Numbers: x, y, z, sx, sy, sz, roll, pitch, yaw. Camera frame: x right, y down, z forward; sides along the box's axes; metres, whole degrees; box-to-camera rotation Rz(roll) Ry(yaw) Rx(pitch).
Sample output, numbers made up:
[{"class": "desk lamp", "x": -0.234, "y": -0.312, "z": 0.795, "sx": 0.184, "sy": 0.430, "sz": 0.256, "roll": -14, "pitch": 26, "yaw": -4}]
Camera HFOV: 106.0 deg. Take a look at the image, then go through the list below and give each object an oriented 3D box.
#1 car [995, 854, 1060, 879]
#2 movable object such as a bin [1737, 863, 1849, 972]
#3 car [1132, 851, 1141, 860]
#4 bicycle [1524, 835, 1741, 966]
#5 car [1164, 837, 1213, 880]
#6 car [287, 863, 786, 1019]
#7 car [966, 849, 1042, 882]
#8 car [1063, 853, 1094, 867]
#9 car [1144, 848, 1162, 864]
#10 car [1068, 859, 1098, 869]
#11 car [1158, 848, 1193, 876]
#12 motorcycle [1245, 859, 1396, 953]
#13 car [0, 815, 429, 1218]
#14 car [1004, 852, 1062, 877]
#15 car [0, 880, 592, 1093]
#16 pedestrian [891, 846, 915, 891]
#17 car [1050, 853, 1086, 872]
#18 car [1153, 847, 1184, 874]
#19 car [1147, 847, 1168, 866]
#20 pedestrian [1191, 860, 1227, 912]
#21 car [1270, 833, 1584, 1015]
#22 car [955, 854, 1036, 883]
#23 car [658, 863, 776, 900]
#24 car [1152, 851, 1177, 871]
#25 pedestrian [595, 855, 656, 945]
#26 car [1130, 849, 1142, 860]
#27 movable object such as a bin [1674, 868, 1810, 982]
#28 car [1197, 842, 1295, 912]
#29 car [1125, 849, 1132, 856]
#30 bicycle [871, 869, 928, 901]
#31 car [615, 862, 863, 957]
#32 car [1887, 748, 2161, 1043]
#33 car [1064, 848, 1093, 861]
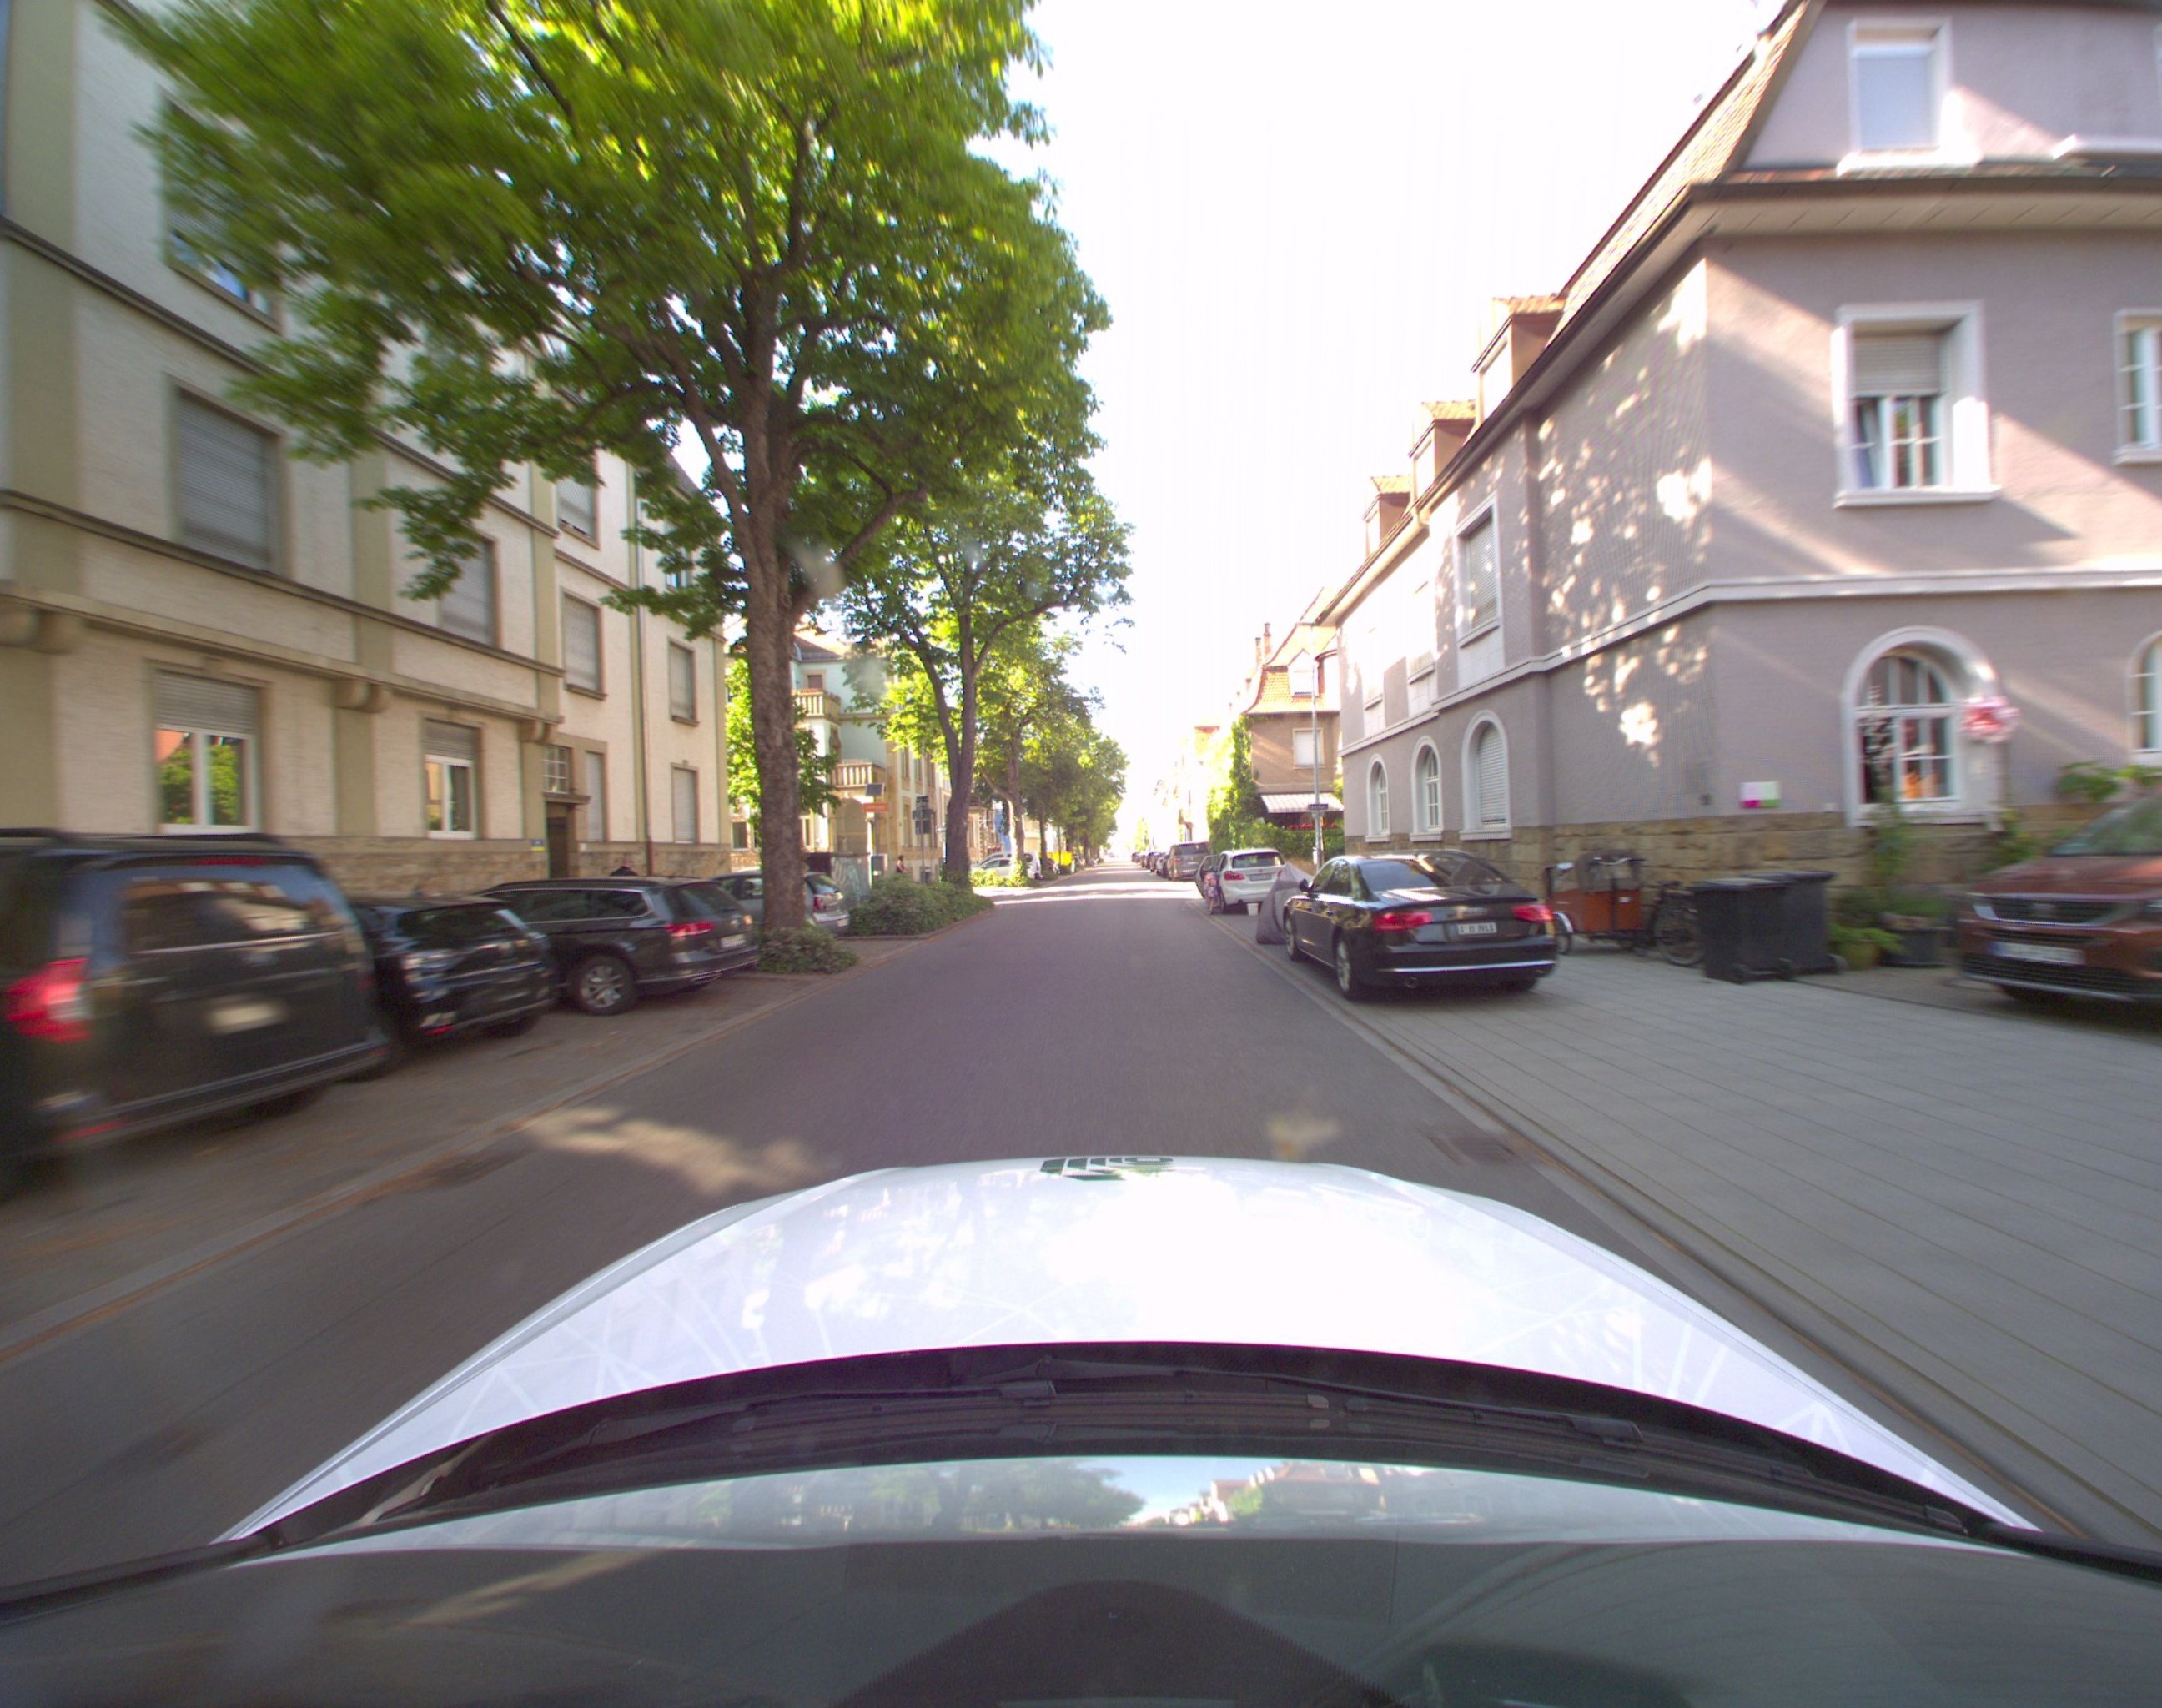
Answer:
[{"class": "car", "x": -3.515, "y": 0.805, "z": 53.516, "sx": 3.969, "sy": 1.469, "sz": 1.866, "roll": -2, "pitch": 1, "yaw": 4}, {"class": "movable object such as a bin", "x": 7.276, "y": 0.628, "z": 8.349, "sx": 0.566, "sy": 1.039, "sz": 0.618, "roll": -3, "pitch": 0, "yaw": 0}, {"class": "car", "x": 10.833, "y": 0.249, "z": 158.430, "sx": 1.763, "sy": 1.631, "sz": 3.870, "roll": -2, "pitch": 0, "yaw": 4}, {"class": "bicycle", "x": 6.465, "y": 0.494, "z": 9.772, "sx": 1.078, "sy": 1.337, "sz": 2.251, "roll": -3, "pitch": 0, "yaw": 2}, {"class": "car", "x": 5.293, "y": 0.214, "z": 40.715, "sx": 1.897, "sy": 1.870, "sz": 4.676, "roll": -5, "pitch": 0, "yaw": 3}, {"class": "car", "x": -6.081, "y": 0.927, "z": 9.520, "sx": 4.516, "sy": 1.503, "sz": 1.892, "roll": -2, "pitch": 0, "yaw": 1}, {"class": "car", "x": -4.168, "y": 0.633, "z": 44.375, "sx": 3.976, "sy": 1.761, "sz": 1.797, "roll": 0, "pitch": -1, "yaw": -2}, {"class": "car", "x": -0.311, "y": 0.801, "z": 106.278, "sx": 3.988, "sy": 1.734, "sz": 1.897, "roll": 0, "pitch": 1, "yaw": 4}, {"class": "car", "x": 7.727, "y": 0.162, "z": 87.982, "sx": 1.763, "sy": 1.631, "sz": 3.870, "roll": -2, "pitch": 0, "yaw": 4}, {"class": "car", "x": 0.301, "y": 1.497, "z": 121.586, "sx": 3.952, "sy": 1.409, "sz": 1.711, "roll": -2, "pitch": 0, "yaw": 21}, {"class": "car", "x": 5.459, "y": 0.450, "z": 47.379, "sx": 1.684, "sy": 1.398, "sz": 3.808, "roll": -5, "pitch": 0, "yaw": 2}, {"class": "motorcycle", "x": 3.865, "y": 0.786, "z": 13.253, "sx": 2.172, "sy": 1.339, "sz": 0.927, "roll": 1, "pitch": 1, "yaw": 41}, {"class": "car", "x": -6.526, "y": 0.809, "z": 4.720, "sx": 3.965, "sy": 1.855, "sz": 1.829, "roll": -2, "pitch": 0, "yaw": 1}, {"class": "car", "x": -3.429, "y": 0.728, "z": 58.091, "sx": 3.982, "sy": 1.552, "sz": 1.834, "roll": -2, "pitch": 0, "yaw": -6}, {"class": "car", "x": -6.805, "y": 1.036, "z": 7.054, "sx": 3.966, "sy": 1.437, "sz": 1.829, "roll": -2, "pitch": 0, "yaw": 0}, {"class": "pedestrian", "x": -6.971, "y": 0.546, "z": 31.844, "sx": 0.627, "sy": 1.694, "sz": 0.653, "roll": -4, "pitch": 0, "yaw": 6}, {"class": "car", "x": -1.530, "y": 0.985, "z": 94.875, "sx": 3.981, "sy": 2.013, "sz": 1.996, "roll": -2, "pitch": 0, "yaw": -6}, {"class": "car", "x": 5.666, "y": 0.372, "z": 53.098, "sx": 1.781, "sy": 1.618, "sz": 3.870, "roll": -2, "pitch": 0, "yaw": 4}, {"class": "car", "x": 7.048, "y": 0.216, "z": 75.518, "sx": 1.763, "sy": 1.631, "sz": 3.870, "roll": -2, "pitch": 0, "yaw": 4}, {"class": "pedestrian", "x": 3.218, "y": 0.799, "z": 20.513, "sx": 0.722, "sy": 1.257, "sz": 0.645, "roll": -3, "pitch": 0, "yaw": -5}, {"class": "car", "x": 3.571, "y": 0.608, "z": 9.469, "sx": 1.846, "sy": 1.493, "sz": 4.612, "roll": -4, "pitch": 0, "yaw": 3}, {"class": "car", "x": -4.355, "y": 0.729, "z": 42.042, "sx": 3.976, "sy": 1.464, "sz": 1.797, "roll": 0, "pitch": -1, "yaw": -2}, {"class": "car", "x": -16.175, "y": 1.210, "z": 36.325, "sx": 4.387, "sy": 1.465, "sz": 1.804, "roll": -2, "pitch": 0, "yaw": 3}, {"class": "car", "x": 6.544, "y": 0.528, "z": 64.254, "sx": 1.763, "sy": 1.455, "sz": 3.870, "roll": -2, "pitch": 0, "yaw": 4}, {"class": "pedestrian", "x": -8.730, "y": 0.862, "z": 15.630, "sx": 0.629, "sy": 1.659, "sz": 0.833, "roll": -2, "pitch": 0, "yaw": 2}, {"class": "car", "x": 8.813, "y": 0.130, "z": 129.937, "sx": 1.763, "sy": 1.631, "sz": 3.870, "roll": -2, "pitch": 0, "yaw": 4}, {"class": "movable object such as a bin", "x": 6.598, "y": 0.683, "z": 8.169, "sx": 0.645, "sy": 1.039, "sz": 0.828, "roll": -3, "pitch": 0, "yaw": 0}, {"class": "car", "x": 4.195, "y": 0.541, "z": 21.333, "sx": 1.693, "sy": 1.539, "sz": 4.156, "roll": -4, "pitch": 0, "yaw": 1}, {"class": "car", "x": 13.421, "y": -0.433, "z": 229.244, "sx": 1.763, "sy": 1.631, "sz": 3.870, "roll": -2, "pitch": 0, "yaw": 4}, {"class": "bicycle", "x": -7.099, "y": 1.203, "z": 31.860, "sx": 1.980, "sy": 1.066, "sz": 0.761, "roll": -4, "pitch": 1, "yaw": 6}, {"class": "car", "x": -5.985, "y": 0.945, "z": 14.530, "sx": 3.660, "sy": 1.487, "sz": 1.642, "roll": -2, "pitch": 0, "yaw": 2}, {"class": "car", "x": 8.832, "y": 0.165, "z": 5.893, "sx": 4.123, "sy": 1.843, "sz": 1.766, "roll": -3, "pitch": -1, "yaw": 1}, {"class": "car", "x": -0.296, "y": 0.016, "z": 115.581, "sx": 3.988, "sy": 1.841, "sz": 2.003, "roll": 0, "pitch": 1, "yaw": 4}]
